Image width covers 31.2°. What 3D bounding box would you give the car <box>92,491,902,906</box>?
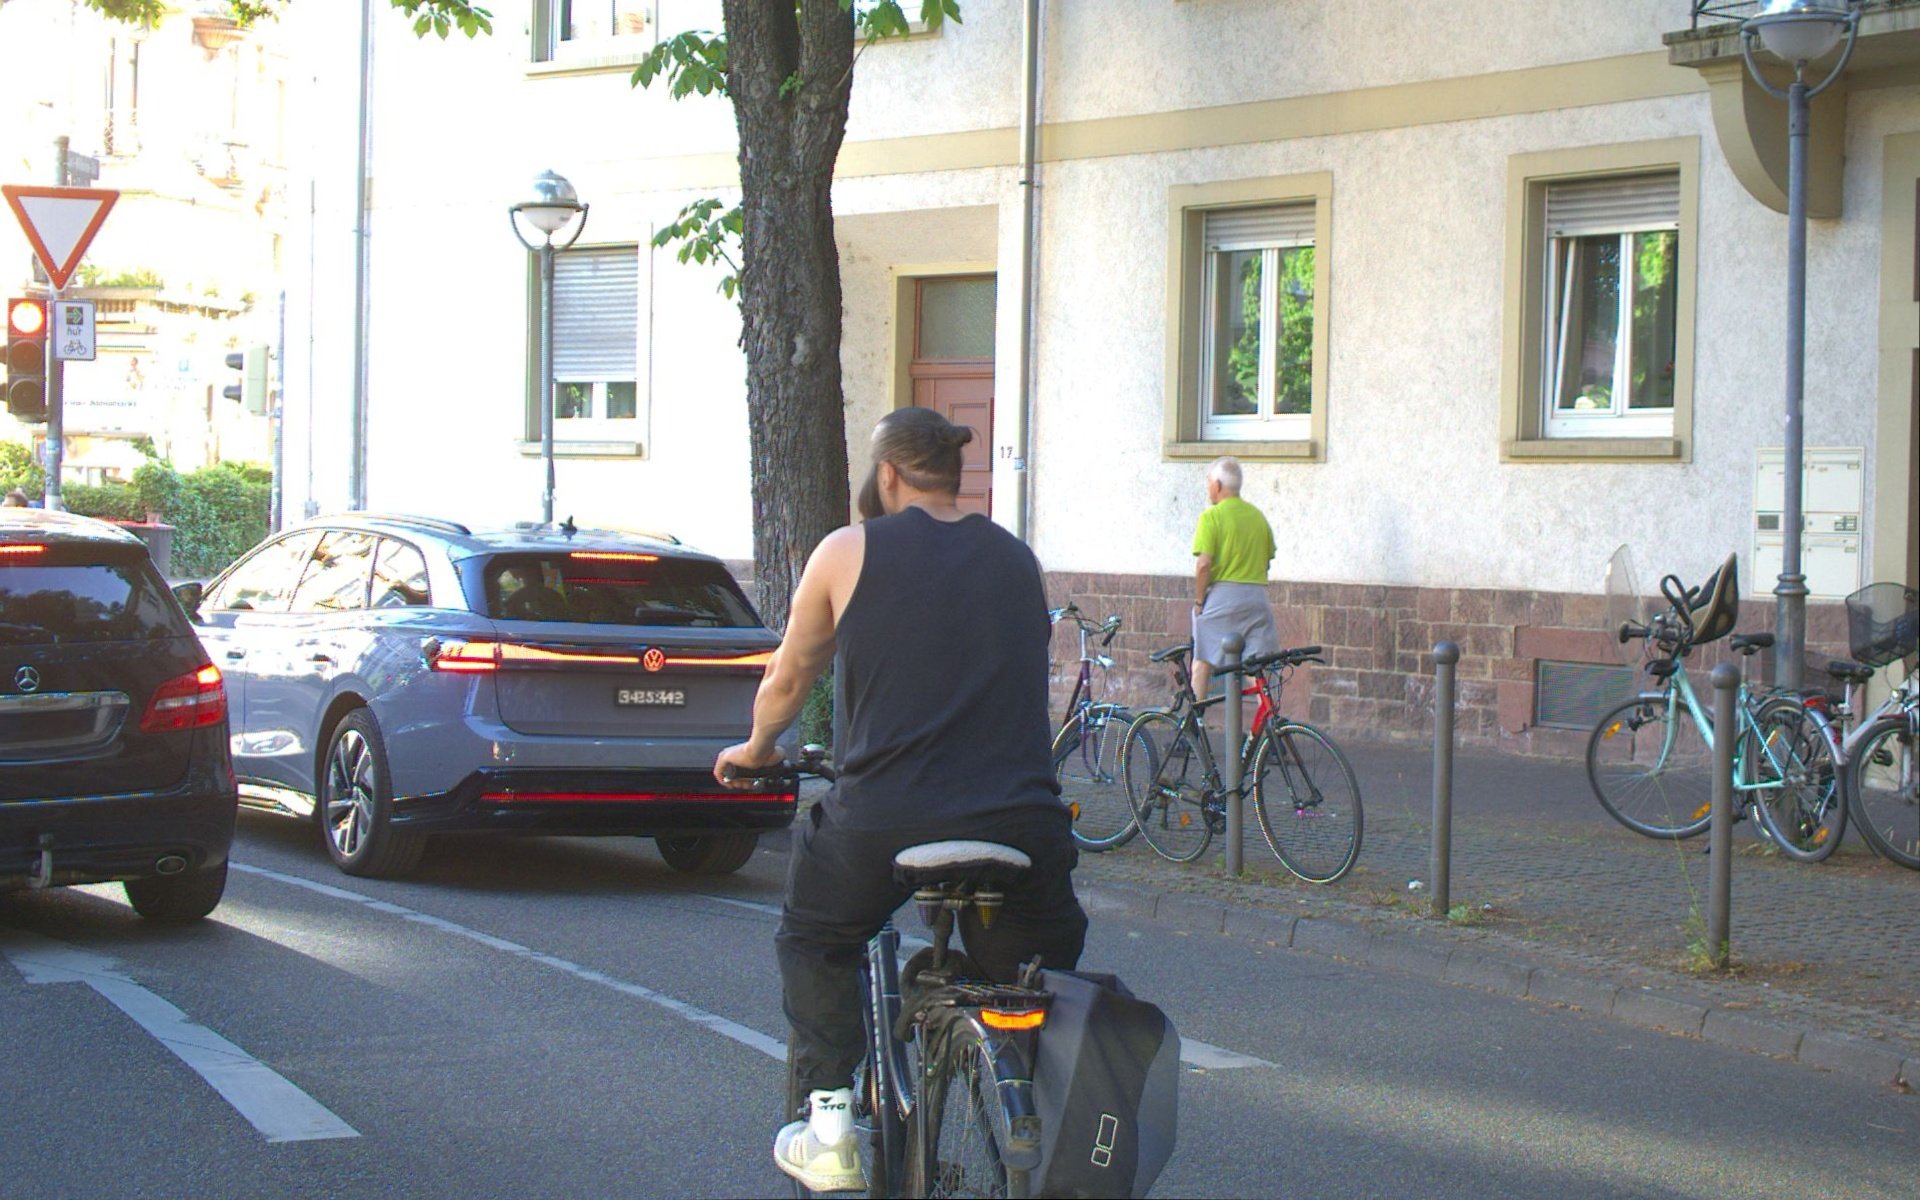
[{"bbox_3d":[-2.290,0.366,15.785,1.970,1.580,4.475,3,0,-32],"label":"car"}]

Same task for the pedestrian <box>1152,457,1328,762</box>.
[{"bbox_3d":[1.630,0.033,20.091,0.643,1.721,0.888,-2,3,-27],"label":"pedestrian"}]

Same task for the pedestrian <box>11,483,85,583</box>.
[{"bbox_3d":[-15.633,-1.144,58.927,0.711,1.659,0.896,6,3,34],"label":"pedestrian"}]

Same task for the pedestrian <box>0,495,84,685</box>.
[{"bbox_3d":[-8.332,-0.101,30.554,0.901,1.629,0.726,3,2,-21],"label":"pedestrian"}]

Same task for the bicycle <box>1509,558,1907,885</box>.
[{"bbox_3d":[3.191,0.478,14.881,0.717,1.273,1.967,-1,2,-21],"label":"bicycle"}]

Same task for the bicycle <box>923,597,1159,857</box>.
[{"bbox_3d":[0.355,0.558,15.998,0.480,1.060,1.636,-2,3,-22],"label":"bicycle"}]

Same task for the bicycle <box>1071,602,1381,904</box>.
[{"bbox_3d":[1.088,0.603,14.437,0.526,1.103,1.741,-2,3,-24],"label":"bicycle"}]

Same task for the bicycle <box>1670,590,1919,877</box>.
[{"bbox_3d":[3.903,0.546,14.899,0.667,1.103,1.967,1,1,-19],"label":"bicycle"}]

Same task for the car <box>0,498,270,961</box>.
[{"bbox_3d":[-4.242,0.389,13.165,1.790,1.536,3.860,-2,2,-34],"label":"car"}]

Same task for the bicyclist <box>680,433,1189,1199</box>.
[{"bbox_3d":[-0.077,0.535,6.238,0.686,1.650,0.990,0,2,-15],"label":"bicyclist"}]
